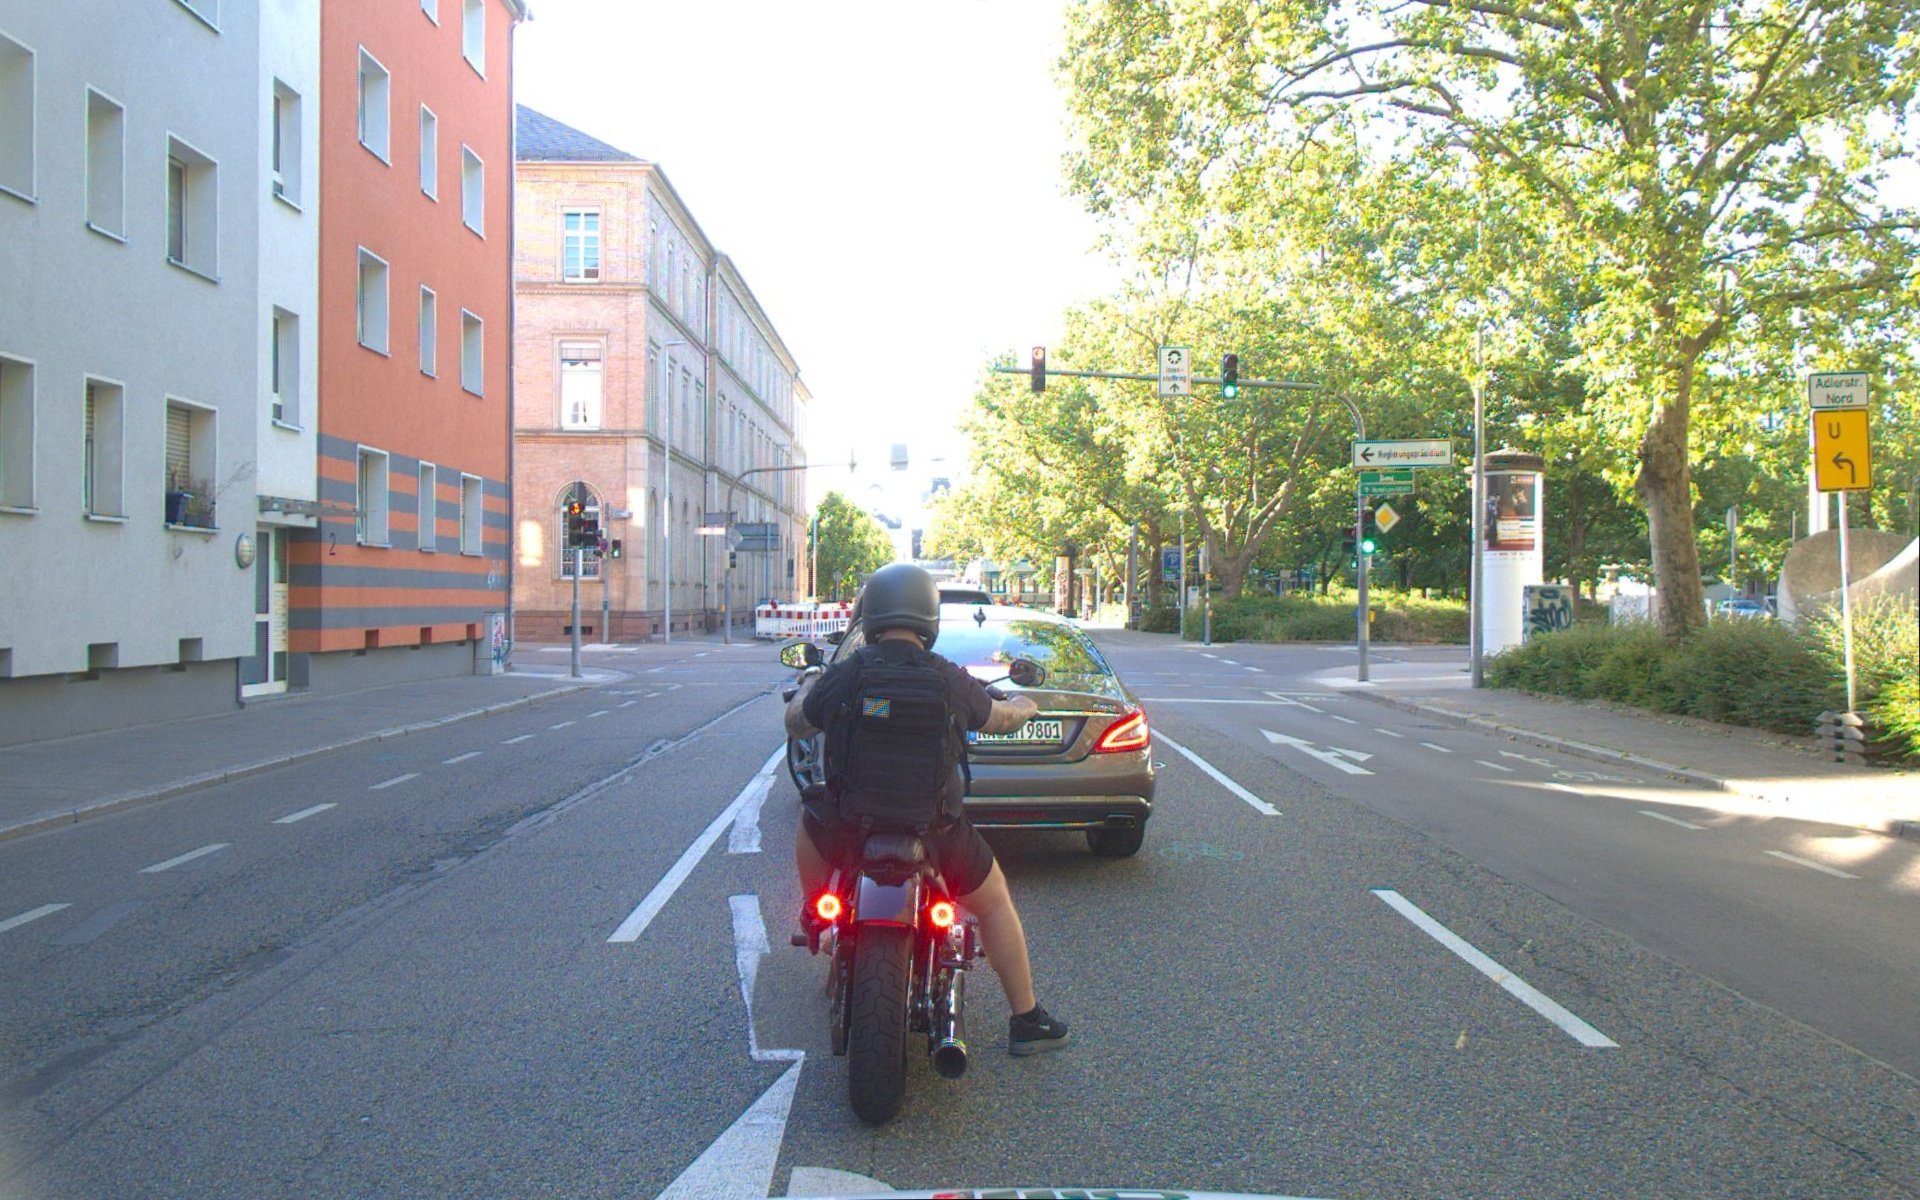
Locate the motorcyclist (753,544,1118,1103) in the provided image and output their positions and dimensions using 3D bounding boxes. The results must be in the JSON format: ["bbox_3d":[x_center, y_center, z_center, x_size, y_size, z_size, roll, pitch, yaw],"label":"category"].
[{"bbox_3d":[-0.075,0.653,5.267,1.039,1.610,0.908,1,0,-1],"label":"motorcyclist"}]

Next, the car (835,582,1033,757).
[{"bbox_3d":[-0.339,0.612,16.767,1.777,1.563,3.846,0,0,-3],"label":"car"}]

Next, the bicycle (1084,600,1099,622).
[{"bbox_3d":[7.237,0.604,91.095,0.701,1.193,2.177,1,0,3],"label":"bicycle"}]

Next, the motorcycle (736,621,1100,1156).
[{"bbox_3d":[-0.125,0.778,5.536,0.942,1.380,2.319,1,0,-1],"label":"motorcycle"}]

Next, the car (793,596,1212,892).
[{"bbox_3d":[0.026,0.712,10.509,1.867,1.466,4.278,0,0,-10],"label":"car"}]

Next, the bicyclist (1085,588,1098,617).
[{"bbox_3d":[7.247,0.148,91.084,0.701,1.610,0.936,1,0,4],"label":"bicyclist"}]
